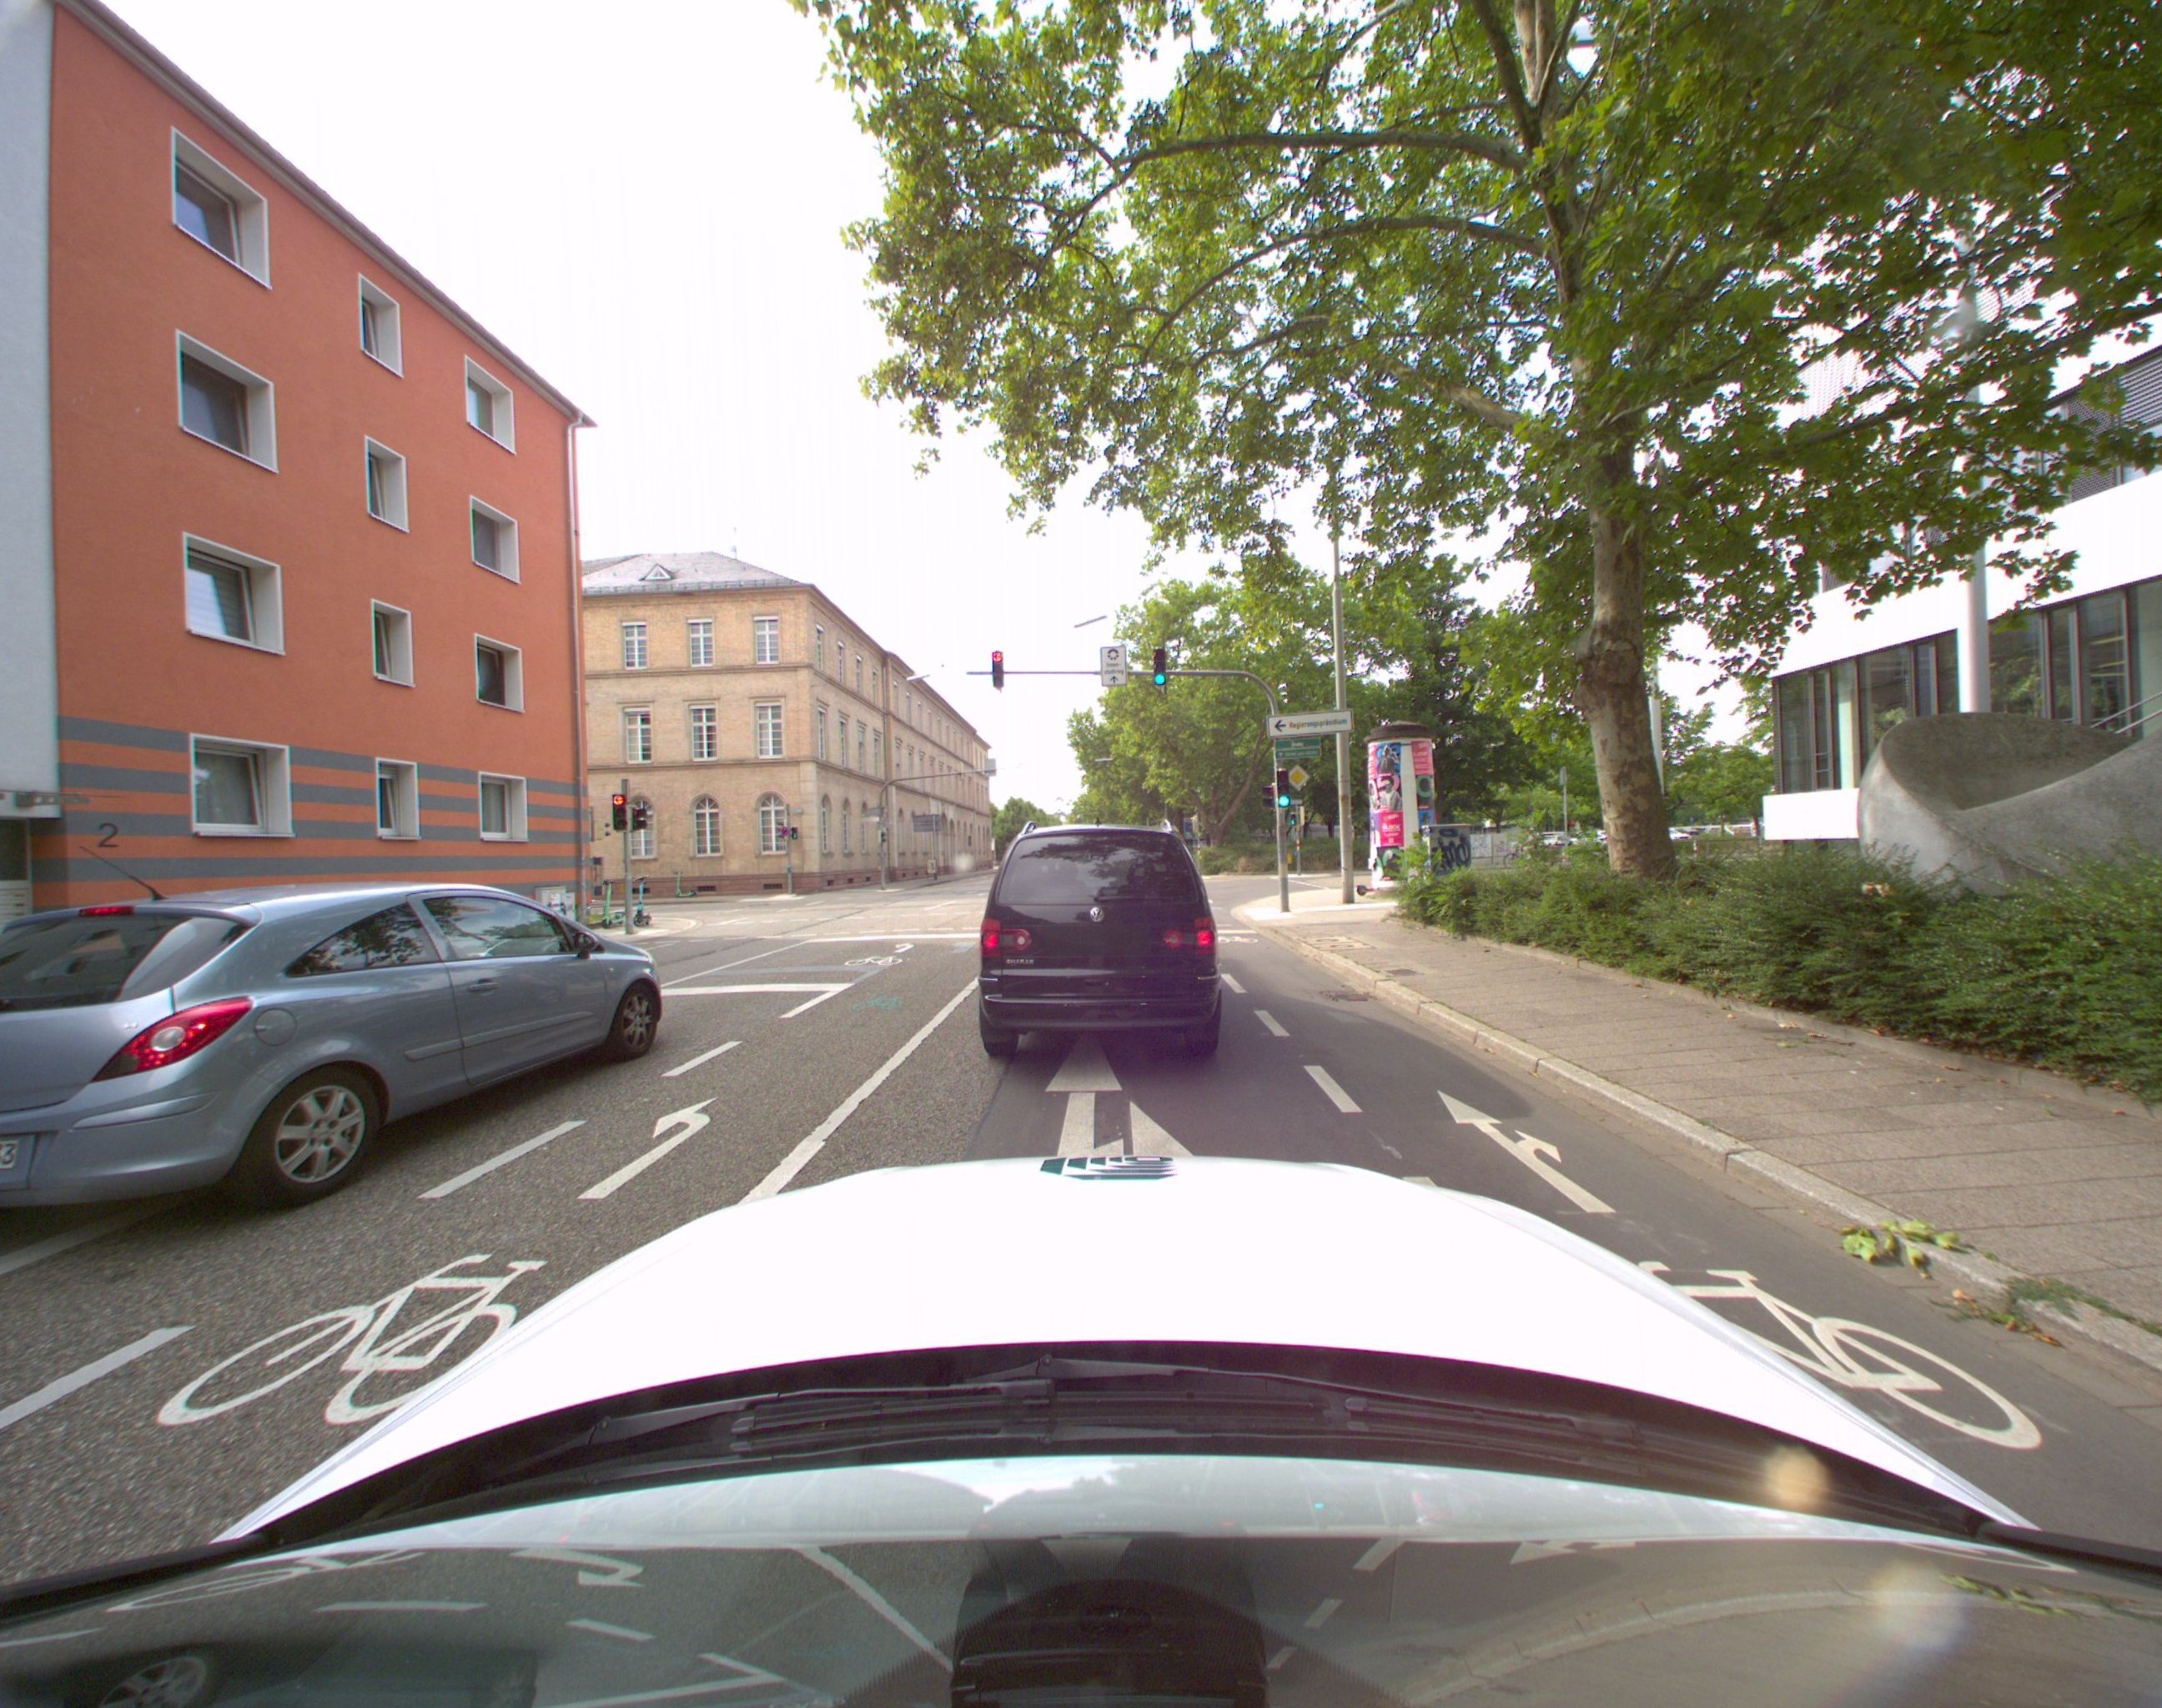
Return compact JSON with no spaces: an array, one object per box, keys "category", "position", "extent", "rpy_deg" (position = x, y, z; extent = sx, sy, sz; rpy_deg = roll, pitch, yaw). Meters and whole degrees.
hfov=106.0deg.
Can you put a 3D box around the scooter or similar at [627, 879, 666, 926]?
[{"category":"scooter or similar","position":[-10.991,1.217,20.610],"extent":[0.377,1.144,1.141],"rpy_deg":[-2,-1,-1]}]

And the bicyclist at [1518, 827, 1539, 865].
[{"category":"bicyclist","position":[19.654,-0.358,35.775],"extent":[0.566,1.618,0.536],"rpy_deg":[-2,0,1]}]

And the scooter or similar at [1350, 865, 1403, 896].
[{"category":"scooter or similar","position":[7.583,0.671,20.898],"extent":[1.214,0.736,0.369],"rpy_deg":[-2,0,1]}]

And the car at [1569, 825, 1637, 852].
[{"category":"car","position":[35.410,-1.021,55.363],"extent":[1.955,1.651,4.152],"rpy_deg":[-2,0,0]}]

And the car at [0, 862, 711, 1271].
[{"category":"car","position":[-4.239,0.846,5.156],"extent":[1.706,1.420,4.254],"rpy_deg":[-4,0,1]}]

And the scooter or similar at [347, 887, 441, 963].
[{"category":"scooter or similar","position":[-11.658,1.179,13.861],"extent":[0.376,1.184,1.390],"rpy_deg":[-2,-1,2]}]

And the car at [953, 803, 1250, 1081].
[{"category":"car","position":[0.232,0.557,7.571],"extent":[1.866,1.745,4.576],"rpy_deg":[-2,0,2]}]

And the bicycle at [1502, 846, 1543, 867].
[{"category":"bicycle","position":[19.380,0.106,35.778],"extent":[1.465,0.885,0.555],"rpy_deg":[-2,0,1]}]

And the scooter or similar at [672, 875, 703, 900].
[{"category":"scooter or similar","position":[-17.199,1.464,35.596],"extent":[1.134,1.049,0.379],"rpy_deg":[-2,-2,1]}]

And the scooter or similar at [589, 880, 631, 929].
[{"category":"scooter or similar","position":[-11.599,1.230,20.080],"extent":[0.377,1.147,1.141],"rpy_deg":[-2,-1,-1]}]
